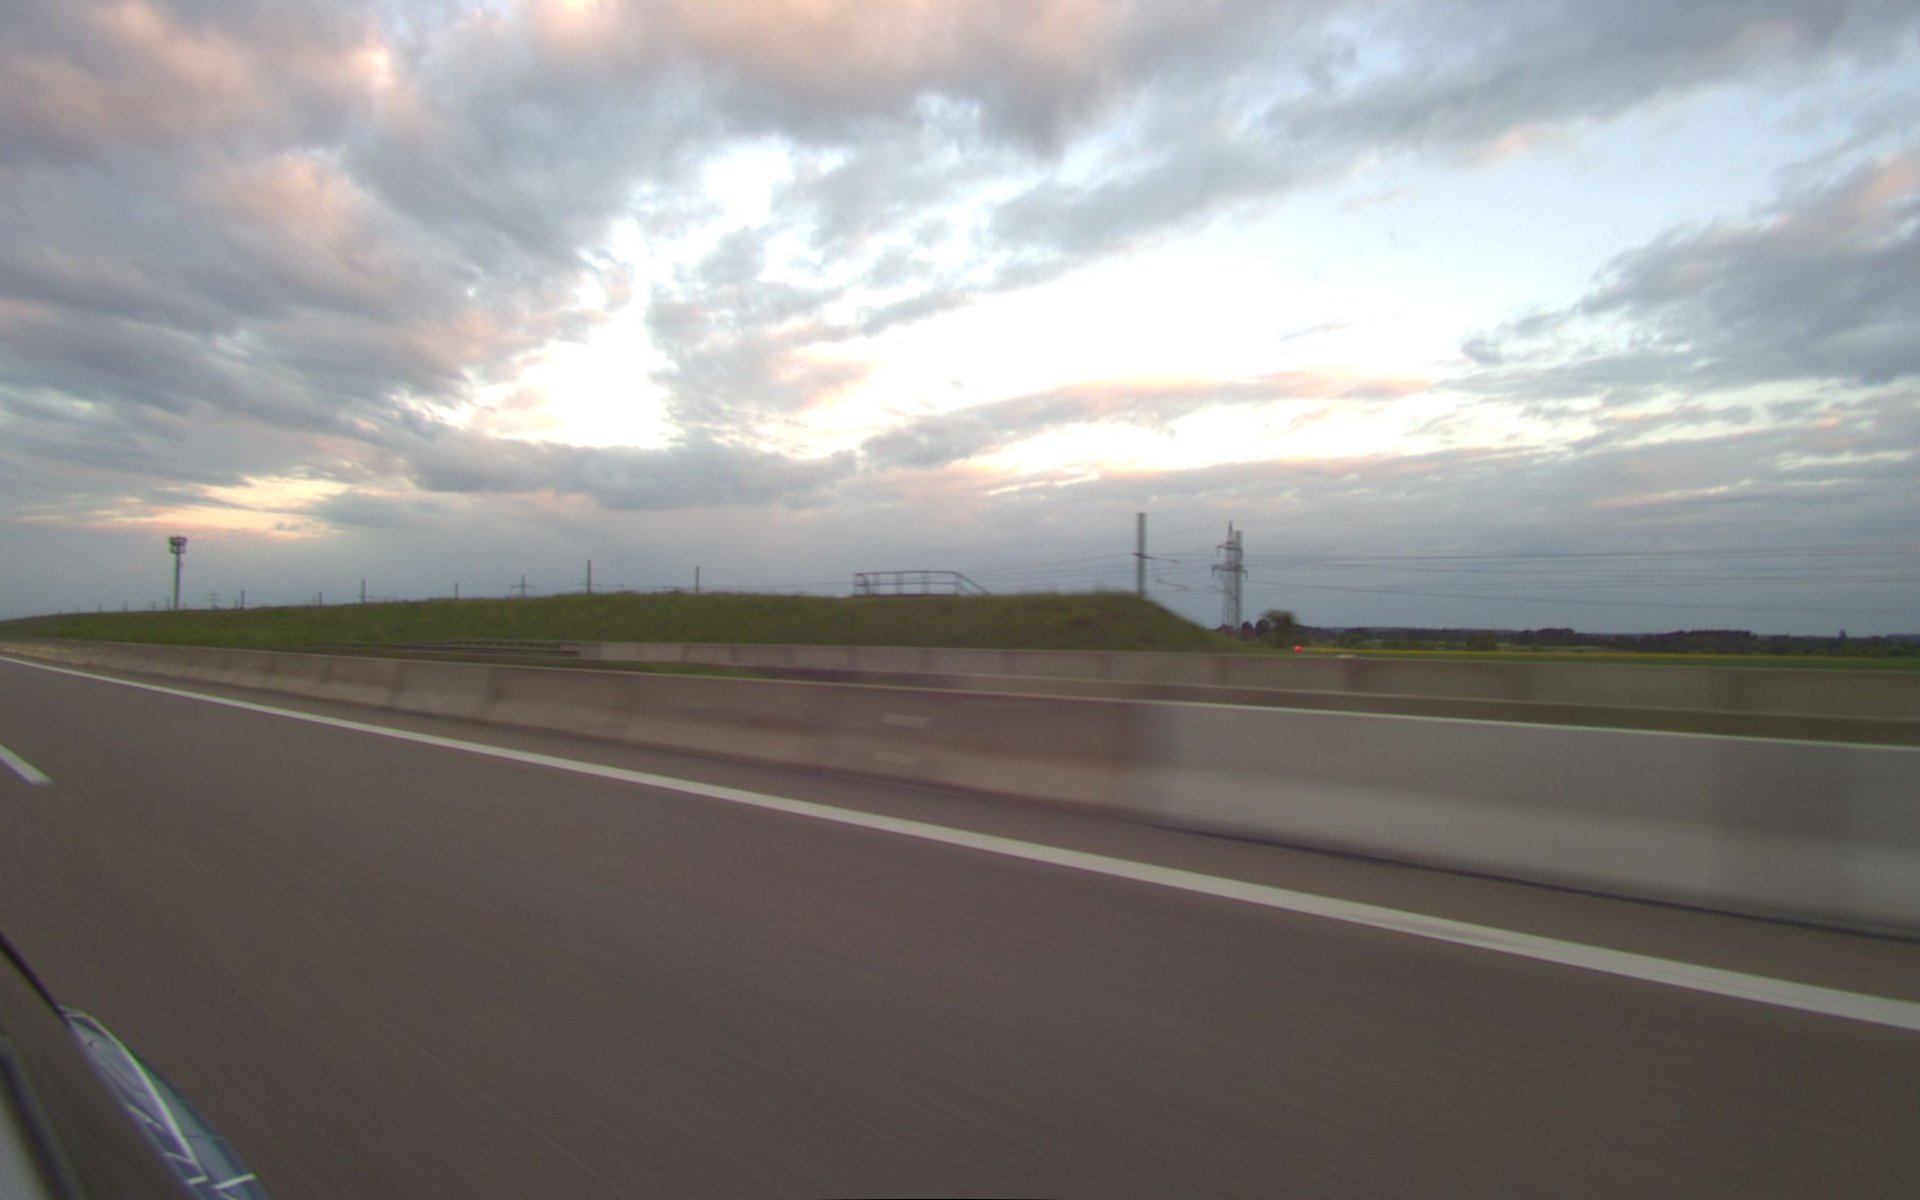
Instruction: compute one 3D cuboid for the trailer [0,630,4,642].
[{"bbox_3d":[-124.976,4.690,130.782,3.928,1.564,1.667,-2,-2,42],"label":"trailer"}]
